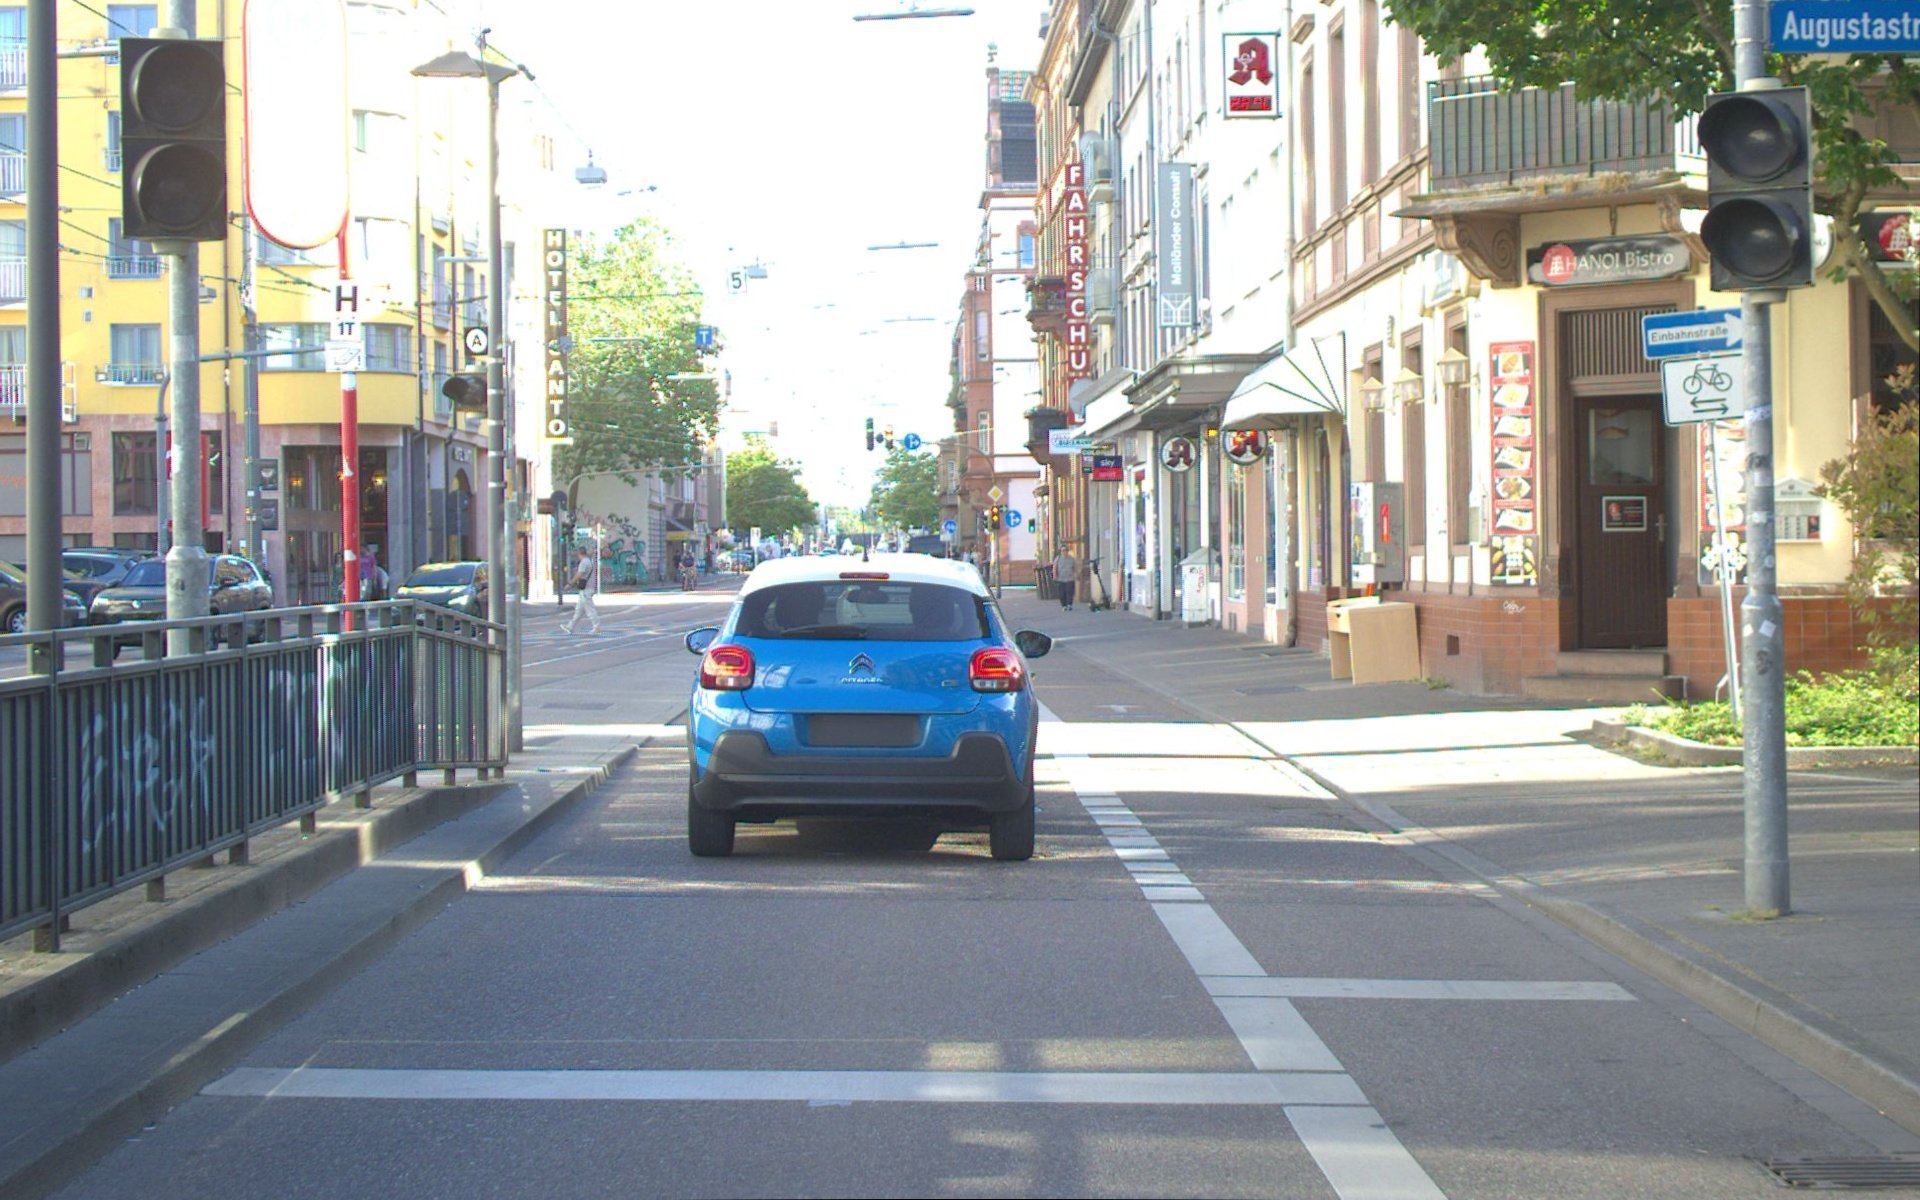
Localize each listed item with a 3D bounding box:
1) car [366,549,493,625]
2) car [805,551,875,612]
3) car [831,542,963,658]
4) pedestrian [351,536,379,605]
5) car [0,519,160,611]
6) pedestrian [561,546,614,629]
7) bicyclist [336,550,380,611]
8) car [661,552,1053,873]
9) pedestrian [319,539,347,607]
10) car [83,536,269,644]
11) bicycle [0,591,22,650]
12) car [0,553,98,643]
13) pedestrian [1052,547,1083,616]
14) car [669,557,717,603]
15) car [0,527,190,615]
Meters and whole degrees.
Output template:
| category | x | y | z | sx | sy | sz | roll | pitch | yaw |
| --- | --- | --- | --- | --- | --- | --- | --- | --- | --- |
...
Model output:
| category | x | y | z | sx | sy | sz | roll | pitch | yaw |
| --- | --- | --- | --- | --- | --- | --- | --- | --- | --- |
| car | -10.917 | -0.294 | 70.990 | 1.951 | 1.481 | 4.000 | -1 | 1 | 0 |
| car | -3.611 | -0.546 | 103.803 | 1.993 | 1.737 | 4.000 | 1 | 0 | -1 |
| car | -0.998 | 0.013 | 55.057 | 1.993 | 1.737 | 4.000 | 1 | 0 | -1 |
| pedestrian | -16.029 | -0.799 | 92.639 | 0.695 | 1.851 | 0.841 | 0 | 1 | -13 |
| car | -18.544 | -0.724 | 70.297 | 3.986 | 1.841 | 1.958 | 0 | 1 | -4 |
| pedestrian | -7.448 | -0.261 | 68.731 | 0.838 | 1.648 | 0.697 | 0 | 1 | -29 |
| bicyclist | -12.836 | -0.430 | 73.379 | 0.730 | 1.287 | 1.180 | 0 | 1 | 0 |
| car | -0.501 | 0.499 | 17.752 | 1.781 | 1.446 | 3.654 | 2 | 1 | -1 |
| pedestrian | -16.904 | -0.726 | 92.645 | 0.695 | 1.823 | 0.841 | 0 | 1 | -13 |
| car | -12.518 | -0.185 | 55.165 | 1.752 | 1.610 | 4.828 | -2 | 1 | 1 |
| bicycle | -16.770 | 0.357 | 58.837 | 0.679 | 0.999 | 2.686 | 0 | 1 | 0 |
| car | -18.560 | -0.057 | 65.262 | 3.986 | 1.669 | 1.958 | 0 | 1 | -4 |
| pedestrian | 2.571 | -0.438 | 82.135 | 0.693 | 1.645 | 0.680 | 0 | 1 | -2 |
| car | -12.387 | -0.916 | 159.653 | 1.993 | 2.007 | 4.000 | 1 | 0 | -2 |
| car | -18.574 | -0.628 | 73.210 | 3.986 | 1.841 | 1.958 | 0 | 1 | -4 |
